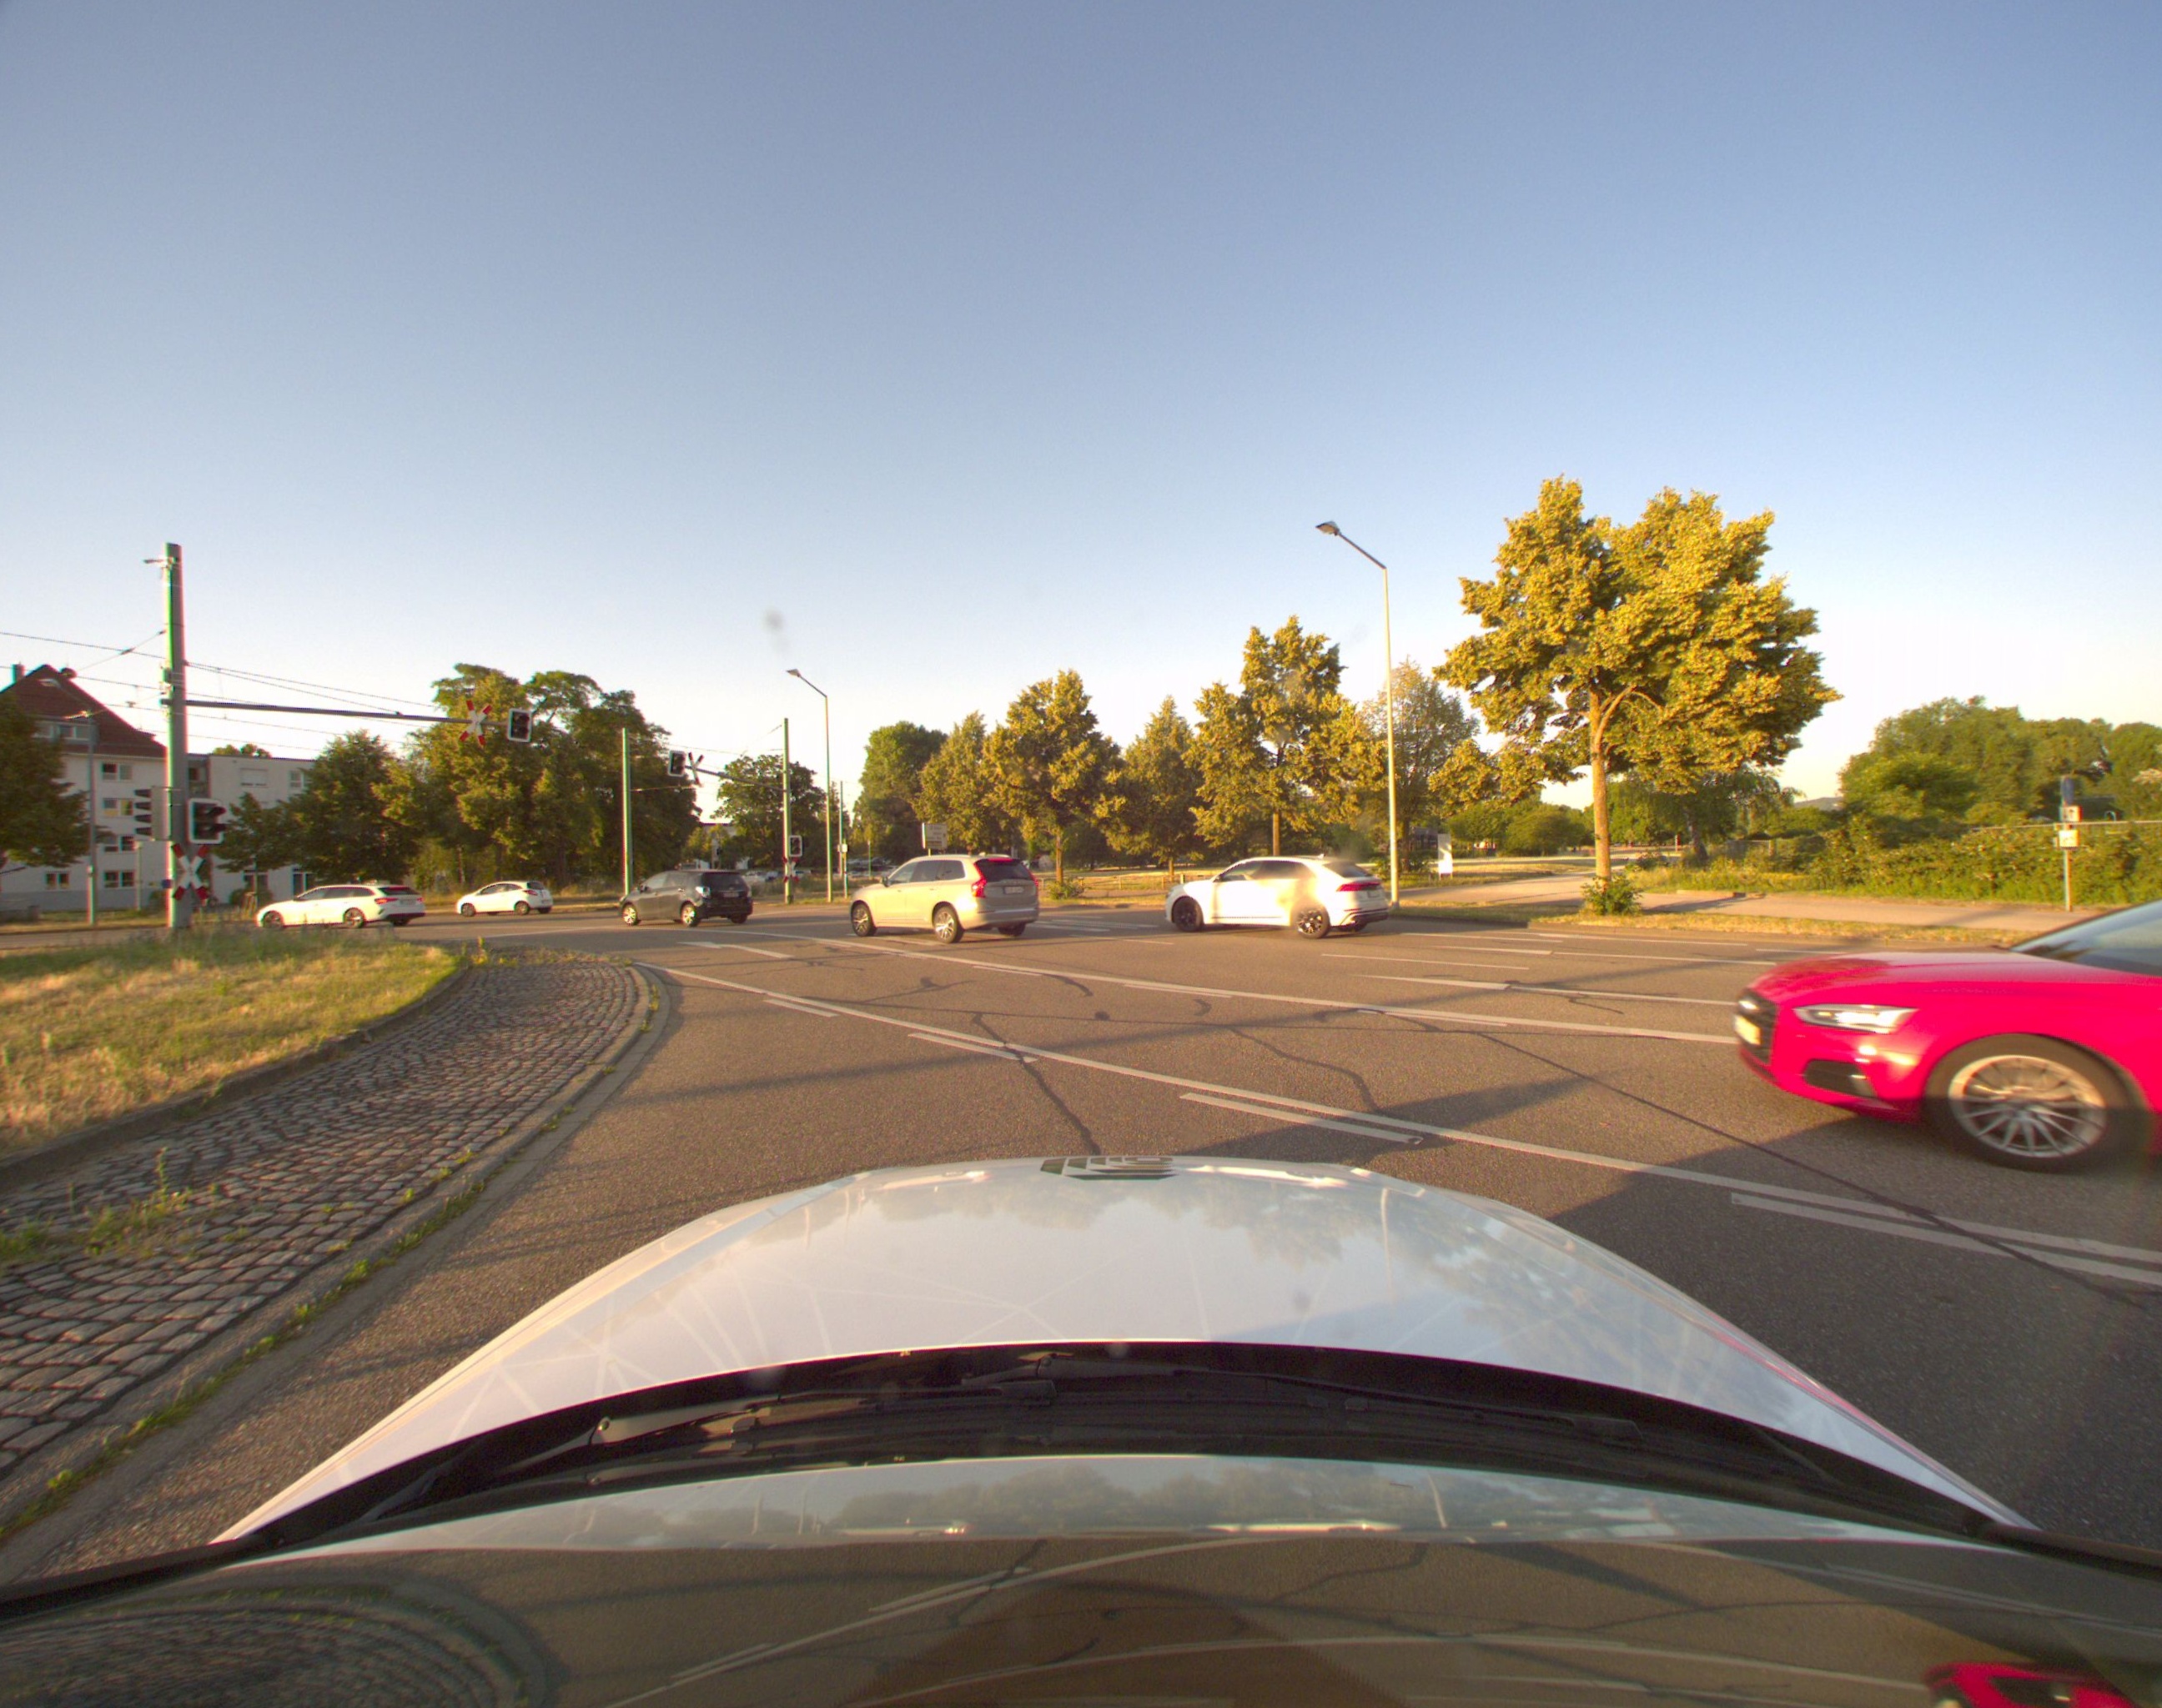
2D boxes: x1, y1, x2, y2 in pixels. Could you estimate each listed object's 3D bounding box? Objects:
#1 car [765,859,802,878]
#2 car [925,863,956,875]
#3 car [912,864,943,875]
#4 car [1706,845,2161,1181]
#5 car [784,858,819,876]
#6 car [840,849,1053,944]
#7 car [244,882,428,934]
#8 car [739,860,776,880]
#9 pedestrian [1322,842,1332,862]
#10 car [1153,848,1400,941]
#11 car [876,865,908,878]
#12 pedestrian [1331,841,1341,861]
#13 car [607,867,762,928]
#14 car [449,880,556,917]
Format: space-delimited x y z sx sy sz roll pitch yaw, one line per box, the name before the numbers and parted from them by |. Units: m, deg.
car | -34.747 1.728 95.111 3.948 2.098 2.013 -2 0 34
car | -20.067 2.107 116.531 3.948 1.551 2.013 -2 0 33
car | -21.631 2.190 114.836 3.948 1.551 2.013 -2 0 33
car | 6.078 0.690 3.984 4.523 1.460 1.857 -1 0 27
car | -33.531 1.539 97.683 3.948 2.098 2.013 -2 0 34
car | -3.016 0.854 17.523 4.858 1.754 1.934 -2 -2 42
car | -24.510 1.758 26.885 4.515 1.448 1.729 -2 0 3
car | -36.733 1.829 92.527 3.948 2.098 2.013 -2 0 34
pedestrian | 19.829 -0.149 65.738 0.526 1.626 0.584 -2 0 40
car | 4.080 0.773 17.628 4.879 1.710 1.925 -1 0 44
car | -25.216 2.336 108.722 3.948 1.551 2.013 -2 0 33
pedestrian | 20.560 -0.223 65.585 0.523 1.626 0.624 -2 0 37
car | -11.633 1.242 23.824 4.399 1.633 1.814 -2 -1 28
car | -25.165 1.917 35.480 3.468 1.443 1.552 -1 -1 -4
